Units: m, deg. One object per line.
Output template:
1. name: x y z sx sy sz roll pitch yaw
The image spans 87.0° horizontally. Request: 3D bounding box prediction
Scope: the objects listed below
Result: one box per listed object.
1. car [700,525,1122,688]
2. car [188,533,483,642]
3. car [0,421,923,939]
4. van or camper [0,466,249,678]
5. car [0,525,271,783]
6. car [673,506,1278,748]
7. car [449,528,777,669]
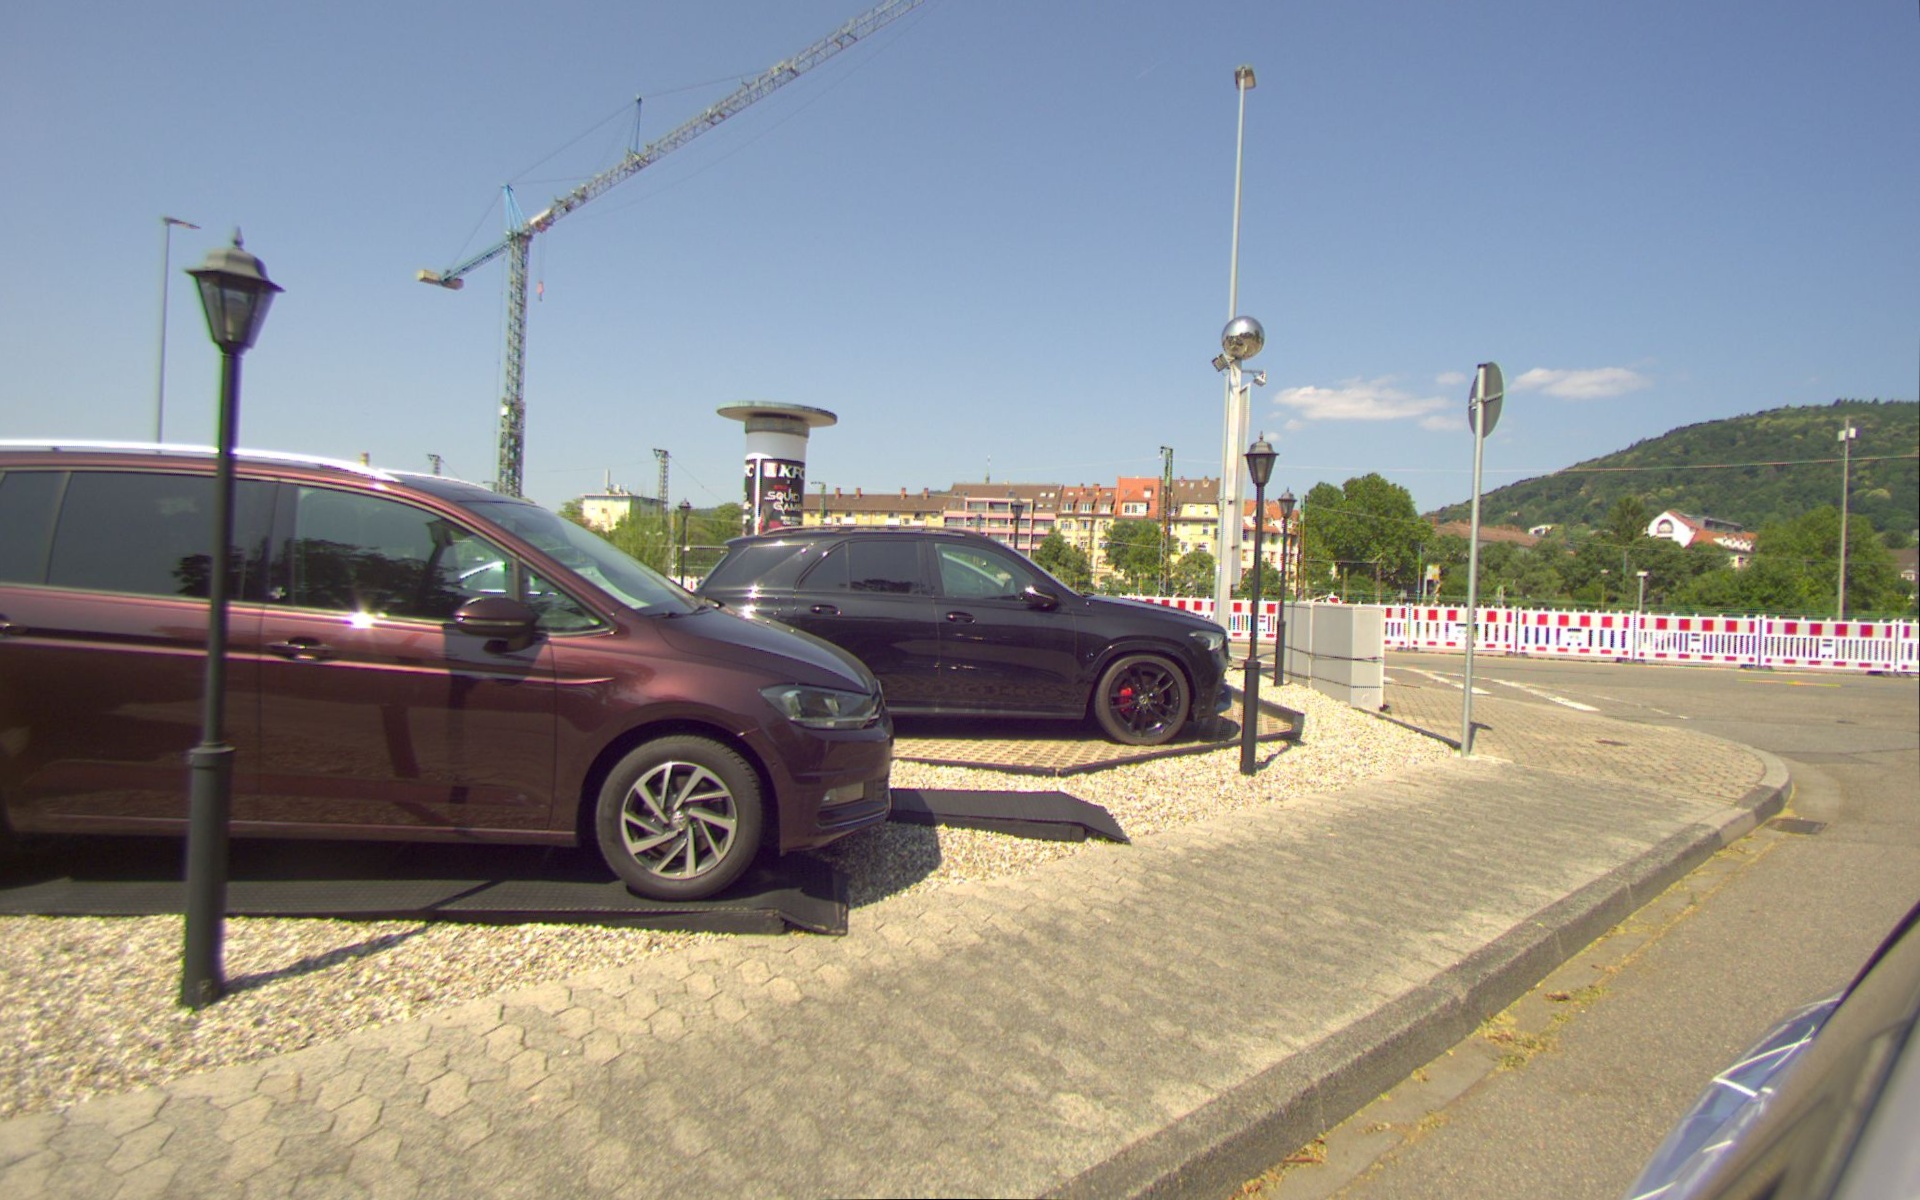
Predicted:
1. car: -0.666 0.080 12.181 4.716 1.713 2.022 1 1 -15
2. car: -9.873 -0.207 16.192 3.687 1.569 1.648 1 1 -1
3. car: -2.351 0.273 4.548 4.204 1.804 1.856 1 2 -6
4. van or camper: -11.893 -0.378 13.072 5.451 2.289 2.093 2 1 26
5. car: -7.512 0.244 7.483 4.153 1.553 1.914 2 2 19
6. car: 0.092 0.197 8.970 4.724 1.801 2.019 1 1 -2
7. car: -4.699 -0.049 14.114 3.925 1.727 1.861 2 1 1
